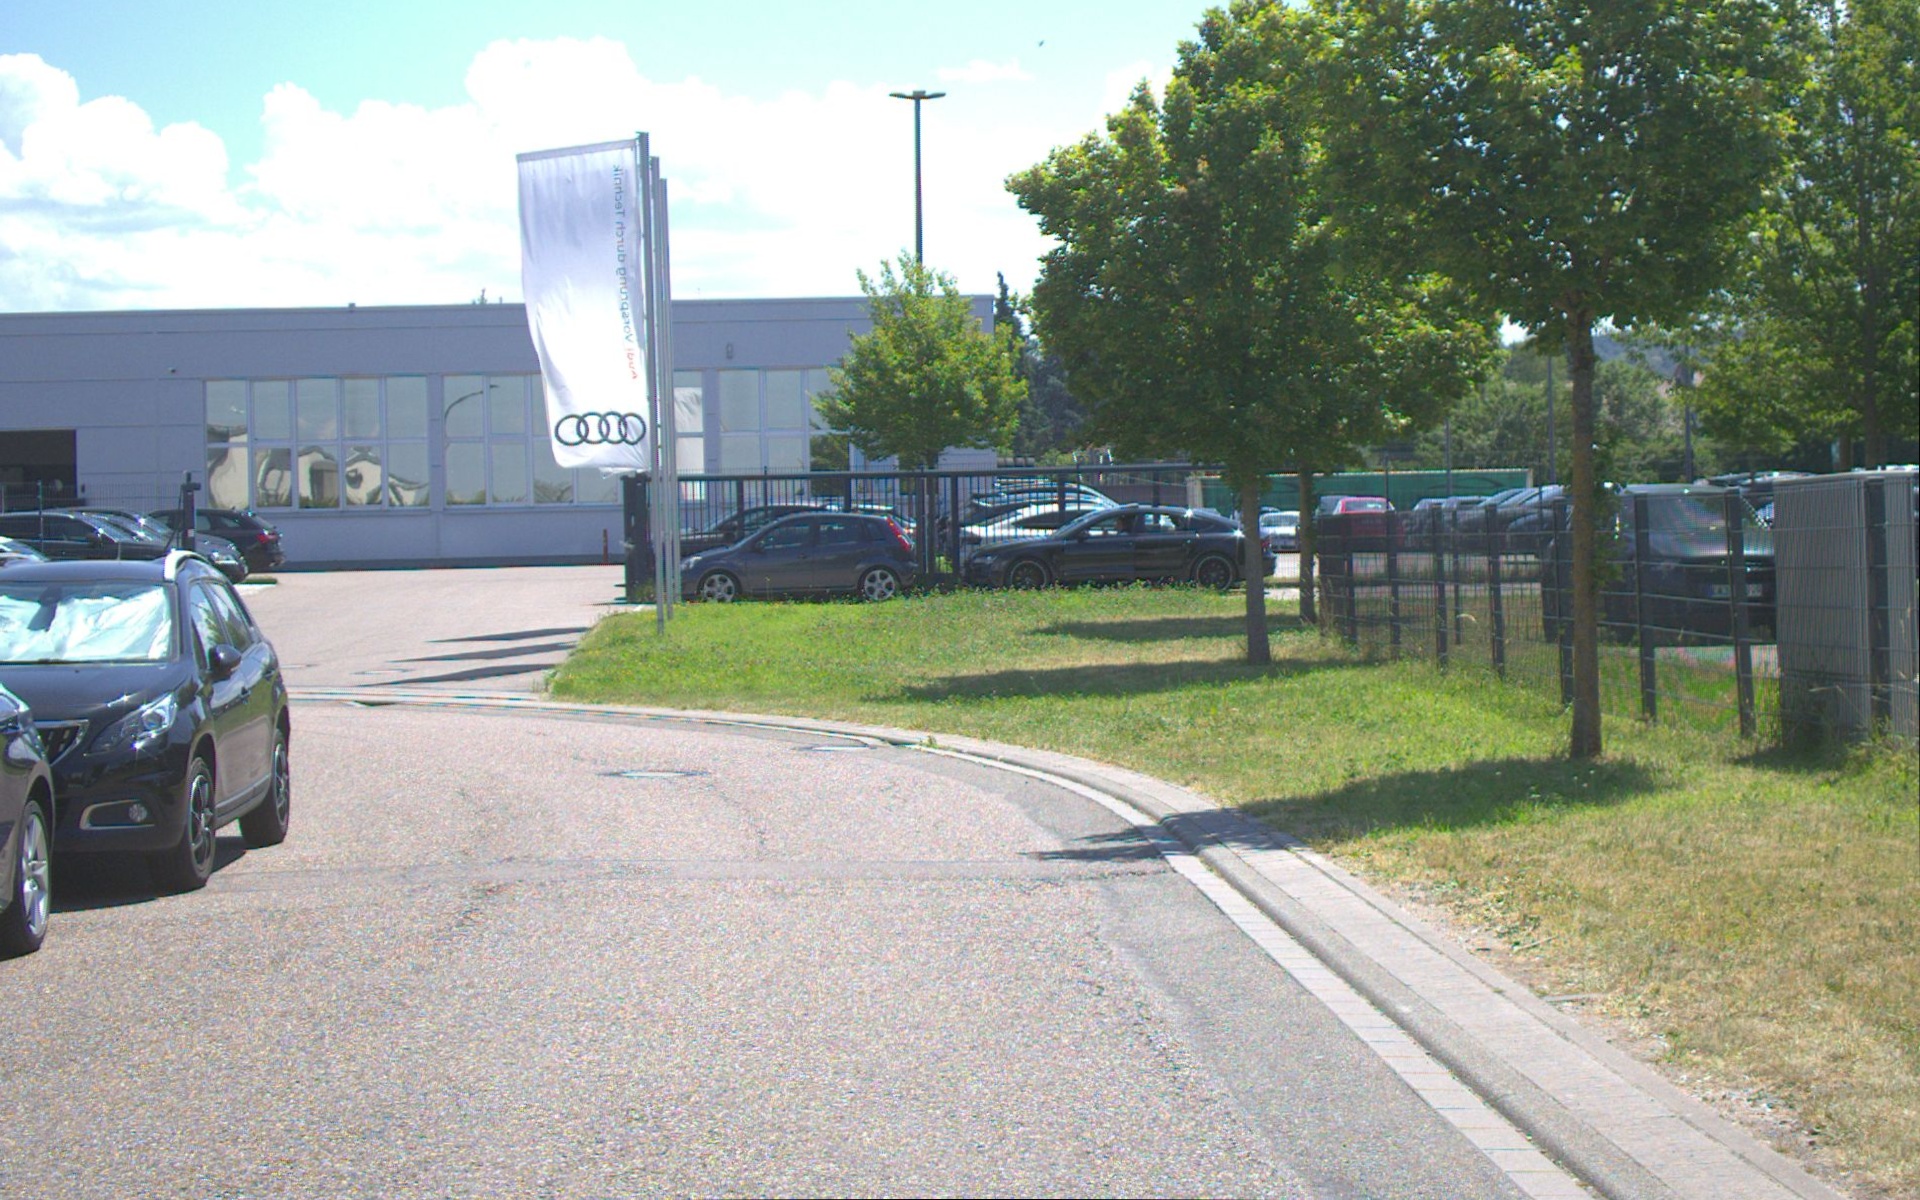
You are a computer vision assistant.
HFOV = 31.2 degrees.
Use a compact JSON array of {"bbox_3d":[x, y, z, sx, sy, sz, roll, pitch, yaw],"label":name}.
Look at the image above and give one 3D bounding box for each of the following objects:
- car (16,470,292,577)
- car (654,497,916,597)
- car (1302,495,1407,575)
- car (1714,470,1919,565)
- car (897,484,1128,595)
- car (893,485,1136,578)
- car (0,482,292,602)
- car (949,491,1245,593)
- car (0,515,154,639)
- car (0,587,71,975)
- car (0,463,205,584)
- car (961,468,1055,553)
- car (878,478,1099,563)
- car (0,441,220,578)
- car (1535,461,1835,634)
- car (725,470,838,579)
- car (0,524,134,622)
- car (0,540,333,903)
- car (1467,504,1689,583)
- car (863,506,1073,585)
[{"bbox_3d":[-15.661,-1.490,67.006,4.883,1.916,2.000,-2,1,-2],"label":"car"},{"bbox_3d":[-2.746,-0.821,53.964,3.986,1.393,2.000,-2,-1,-3],"label":"car"},{"bbox_3d":[9.882,-1.610,86.358,1.993,1.821,4.000,-2,-1,-2],"label":"car"},{"bbox_3d":[14.836,-1.358,56.337,4.437,1.393,2.000,-2,-1,-3],"label":"car"},{"bbox_3d":[0.914,-1.075,62.147,3.986,1.821,2.000,-2,-1,-3],"label":"car"},{"bbox_3d":[0.907,-1.162,58.826,3.986,1.393,2.000,-2,-1,-3],"label":"car"},{"bbox_3d":[-14.261,-1.014,59.763,4.883,1.916,2.000,-2,1,-2],"label":"car"},{"bbox_3d":[2.110,-0.897,53.922,4.437,1.393,2.000,-2,-1,-3],"label":"car"},{"bbox_3d":[-13.693,-0.276,47.965,4.437,1.621,2.000,-2,-1,-3],"label":"car"},{"bbox_3d":[-4.322,0.704,11.803,1.656,1.412,4.146,-2,1,-4],"label":"car"},{"bbox_3d":[-15.179,-1.259,57.636,4.586,1.916,2.000,-2,1,-2],"label":"car"},{"bbox_3d":[1.128,-2.119,82.458,1.993,1.821,4.000,-2,-1,-2],"label":"car"},{"bbox_3d":[0.511,-1.484,64.656,3.986,1.393,2.000,-2,-1,-3],"label":"car"},{"bbox_3d":[-14.838,-1.424,55.494,5.317,2.090,2.000,-2,1,-2],"label":"car"},{"bbox_3d":[6.897,-0.511,33.083,1.735,1.517,3.896,-2,1,-5],"label":"car"},{"bbox_3d":[-3.355,-1.381,63.999,1.993,1.821,4.000,-2,-1,-4],"label":"car"},{"bbox_3d":[-15.128,-0.371,52.804,4.437,1.393,2.000,-2,-1,-3],"label":"car"},{"bbox_3d":[-4.370,0.518,16.944,1.833,1.541,4.265,-2,1,-2],"label":"car"},{"bbox_3d":[12.383,-1.126,69.028,3.986,1.393,2.000,-2,-1,-3],"label":"car"},{"bbox_3d":[0.123,-1.062,67.768,3.986,1.393,2.000,-2,-1,-3],"label":"car"}]
